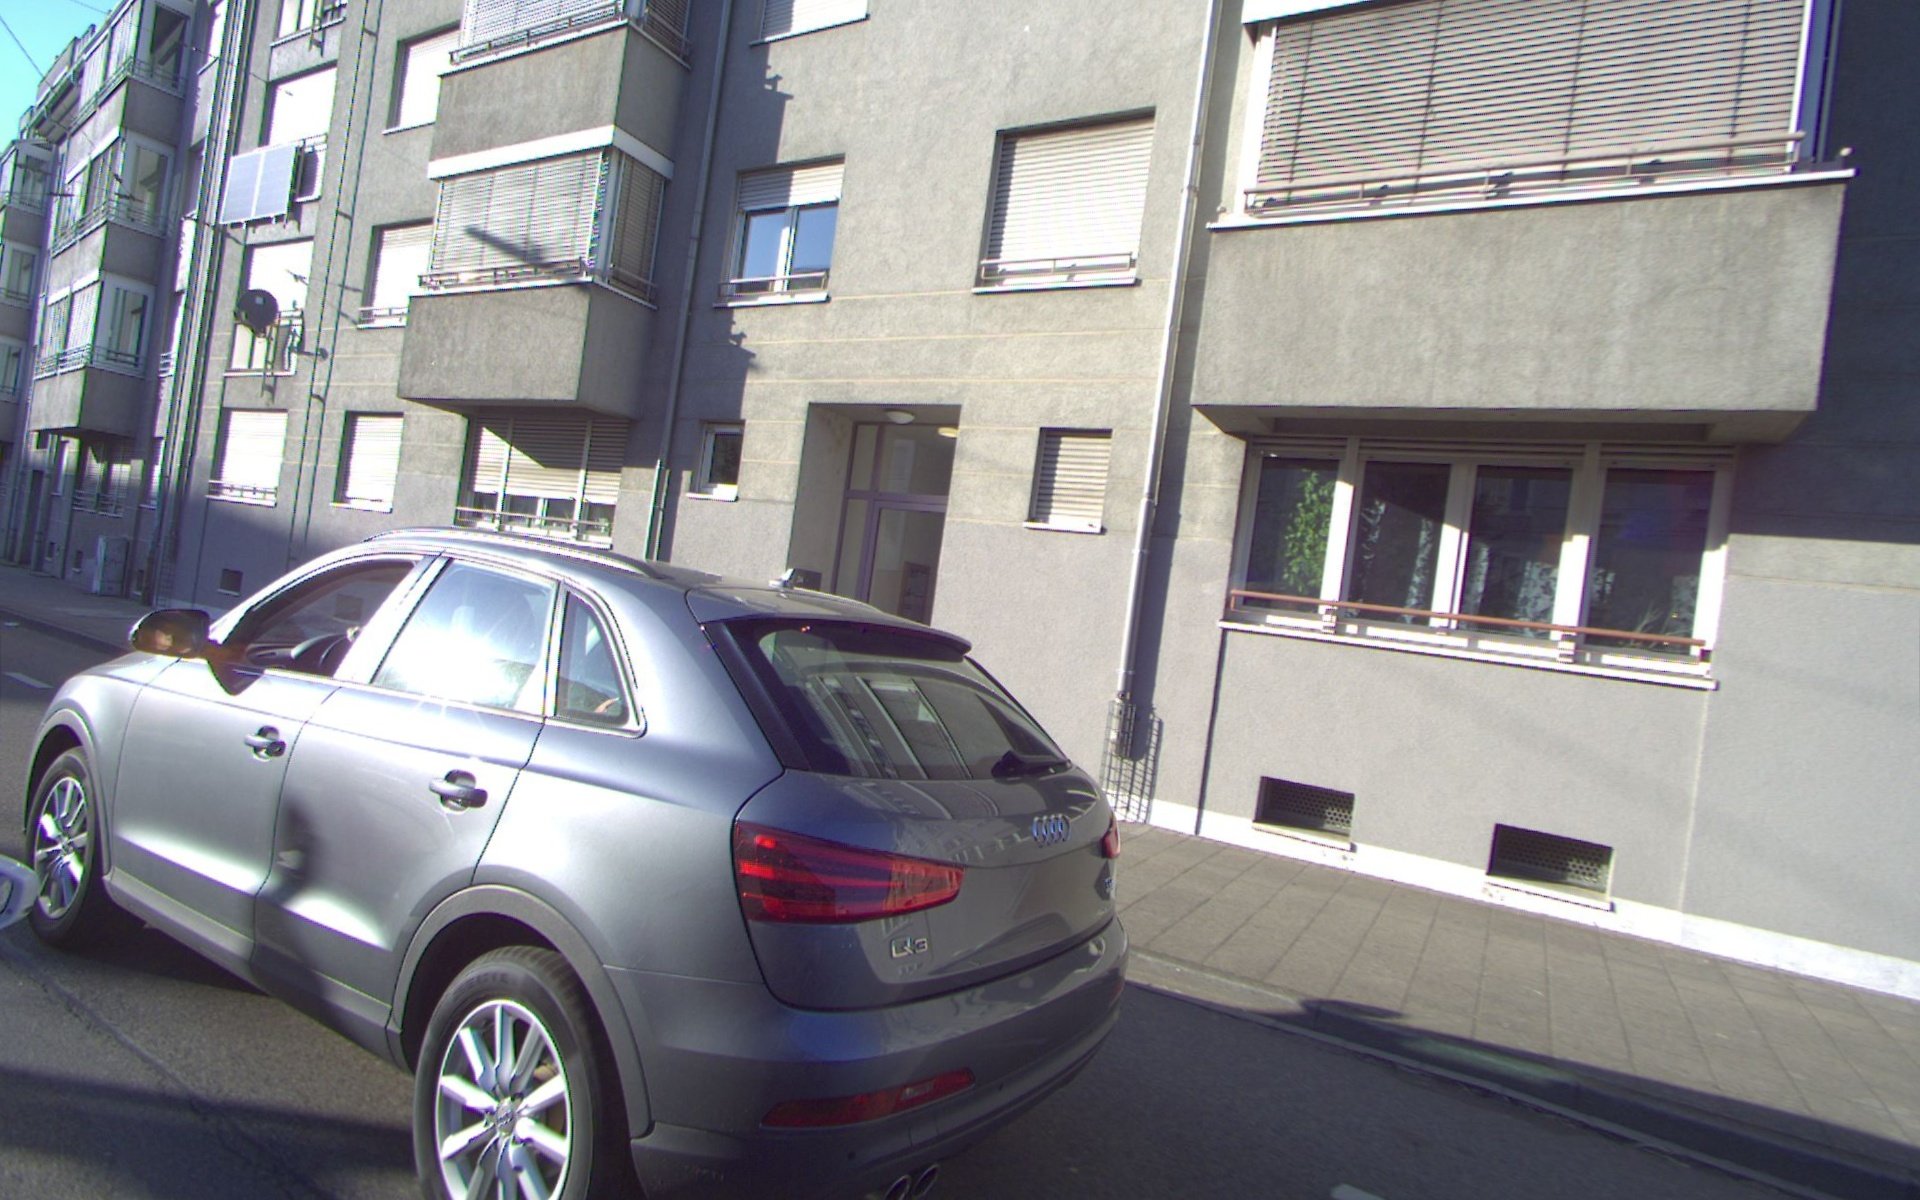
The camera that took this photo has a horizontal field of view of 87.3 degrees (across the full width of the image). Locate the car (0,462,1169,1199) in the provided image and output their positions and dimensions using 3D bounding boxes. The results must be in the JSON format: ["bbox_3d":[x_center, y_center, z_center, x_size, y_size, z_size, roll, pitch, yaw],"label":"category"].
[{"bbox_3d":[-1.578,0.573,3.506,4.001,1.606,1.769,7,-1,32],"label":"car"}]
